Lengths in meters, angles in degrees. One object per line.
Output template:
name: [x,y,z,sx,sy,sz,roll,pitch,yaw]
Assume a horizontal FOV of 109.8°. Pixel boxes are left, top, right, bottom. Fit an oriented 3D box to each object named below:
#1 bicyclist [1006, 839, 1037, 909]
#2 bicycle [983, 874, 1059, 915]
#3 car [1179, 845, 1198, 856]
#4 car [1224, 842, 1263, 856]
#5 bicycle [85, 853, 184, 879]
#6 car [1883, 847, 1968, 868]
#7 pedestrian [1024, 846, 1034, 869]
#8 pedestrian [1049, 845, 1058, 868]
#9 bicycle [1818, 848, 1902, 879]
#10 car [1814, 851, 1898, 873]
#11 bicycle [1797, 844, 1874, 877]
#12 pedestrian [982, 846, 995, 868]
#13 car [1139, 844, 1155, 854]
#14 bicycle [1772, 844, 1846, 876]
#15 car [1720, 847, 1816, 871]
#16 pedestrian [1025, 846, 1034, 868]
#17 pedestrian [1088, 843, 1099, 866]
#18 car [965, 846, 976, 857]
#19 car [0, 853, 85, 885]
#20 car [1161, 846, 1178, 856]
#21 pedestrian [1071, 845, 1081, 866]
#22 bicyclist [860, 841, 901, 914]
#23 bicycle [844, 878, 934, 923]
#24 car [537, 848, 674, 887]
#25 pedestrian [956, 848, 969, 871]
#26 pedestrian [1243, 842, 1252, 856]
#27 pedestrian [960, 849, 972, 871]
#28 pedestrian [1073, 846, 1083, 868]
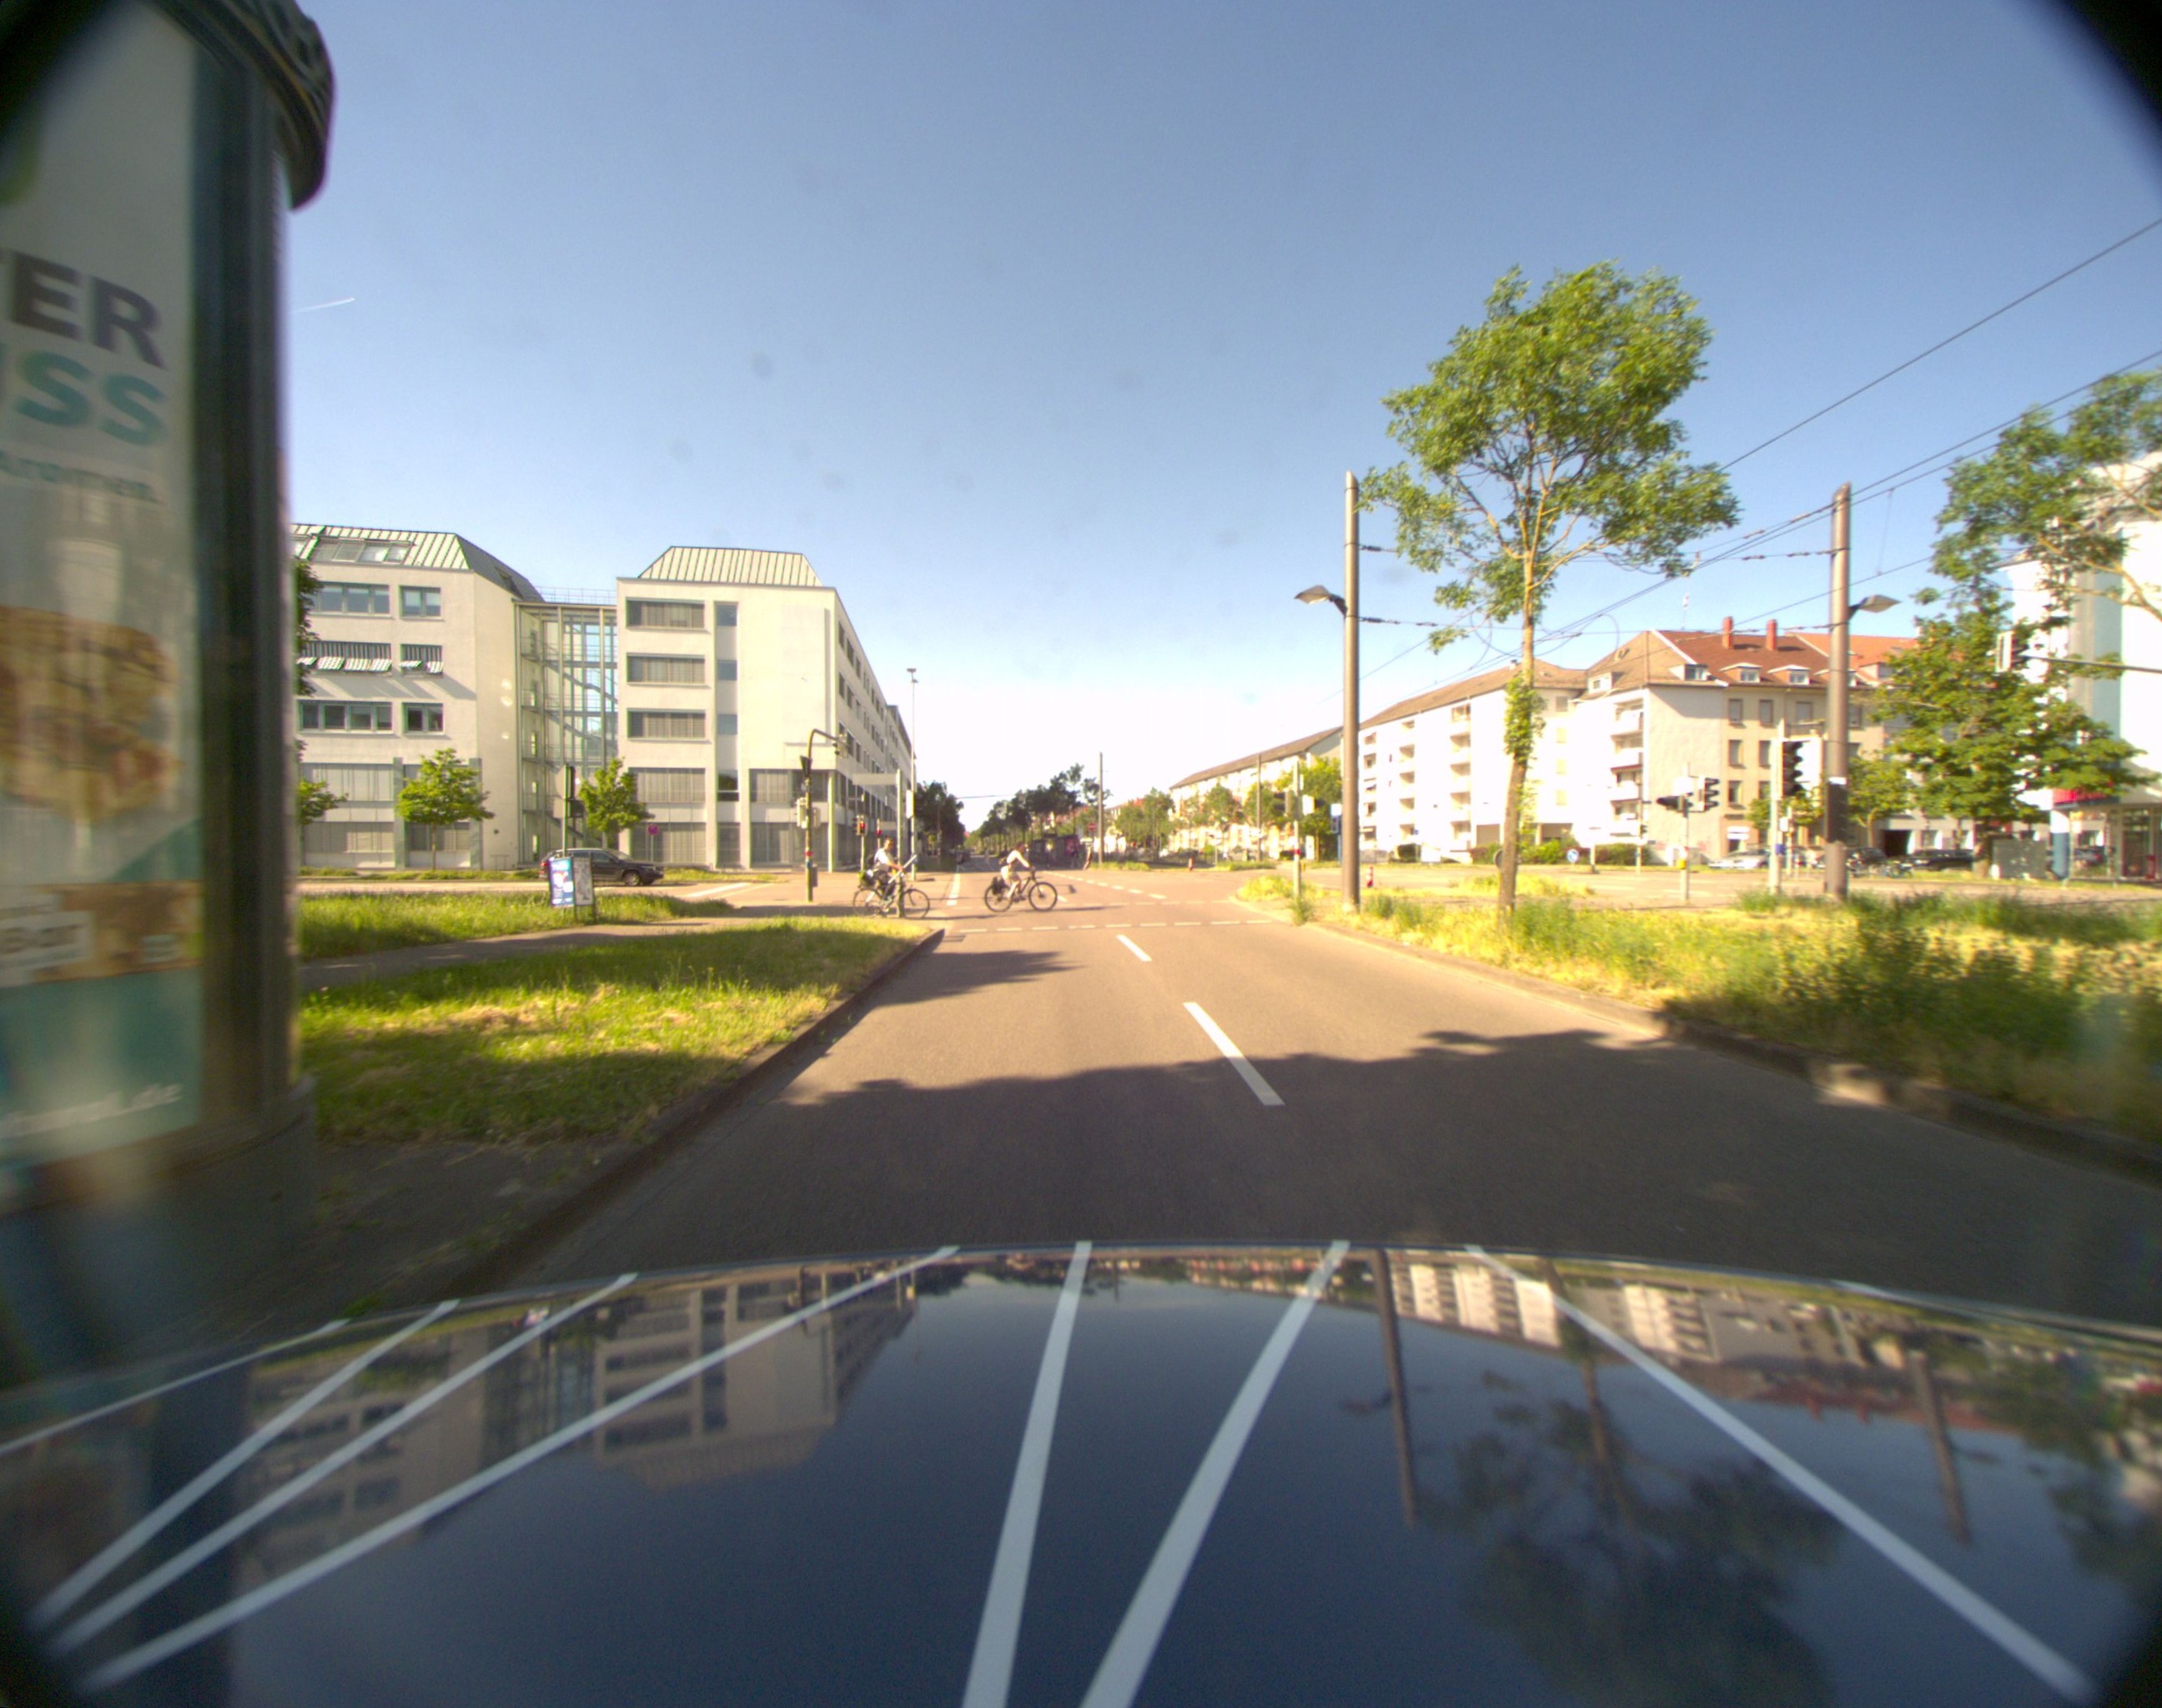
bicyclist: [-1.469,0.481,18.878,0.715,1.682,0.816,0,1,-3]
bicycle: [-1.474,1.005,18.887,1.828,0.958,0.816,0,1,-3]
car: [16.412,-0.554,116.021,1.694,1.700,4.237,0,0,-9]
car: [18.829,-0.569,88.178,4.231,1.700,1.696,0,1,22]
bicycle: [-50.813,0.648,40.826,3.535,1.340,0.989,0,1,-9]
car: [53.900,0.191,48.526,4.090,1.303,1.701,0,1,-10]
pedestrian: [-3.889,0.247,56.948,0.732,1.687,0.735,0,1,-3]
pedestrian: [-2.064,0.189,56.538,0.641,1.687,0.608,0,1,-7]
bicycle: [30.148,0.349,29.416,2.579,1.152,0.783,0,1,-5]
car: [48.805,0.500,47.851,4.090,1.303,1.701,0,1,-10]
bicycle: [30.149,0.254,30.361,2.579,1.302,0.662,0,1,-5]
pedestrian: [-7.099,0.217,58.281,0.882,1.687,0.735,0,1,-3]
car: [12.281,-0.908,141.519,1.834,1.700,4.237,0,0,-9]
bicycle: [30.077,0.243,31.414,2.579,1.302,0.662,0,1,-5]
car: [42.382,0.278,46.904,4.189,1.457,2.332,0,1,-10]
pedestrian: [-3.916,0.232,57.795,0.732,1.687,0.735,0,1,-3]
pedestrian: [0.906,0.047,55.070,0.723,1.687,0.608,0,1,-3]
car: [-18.059,-0.375,124.030,1.694,1.700,4.237,0,0,-9]
car: [-48.360,0.656,34.028,4.288,1.412,1.917,0,1,-12]
car: [14.651,-0.542,126.412,1.694,1.700,4.237,0,0,-9]
pedestrian: [-0.406,0.113,59.826,0.732,1.687,0.735,0,1,-3]
bicyclist: [-4.509,0.512,17.166,0.715,1.591,0.849,0,1,-2]
bicycle: [-4.308,1.040,17.184,1.827,0.958,0.855,0,1,-2]
car: [-20.578,0.551,33.068,4.631,1.613,1.998,0,1,-8]
pedestrian: [-8.804,0.399,56.622,0.731,1.687,0.736,0,1,13]
pedestrian: [19.047,-0.576,87.059,0.786,1.701,0.703,0,1,-9]
pedestrian: [-8.862,0.431,58.603,0.731,1.687,0.736,0,1,13]
pedestrian: [-0.270,0.203,58.812,0.732,1.687,0.735,0,1,-3]
